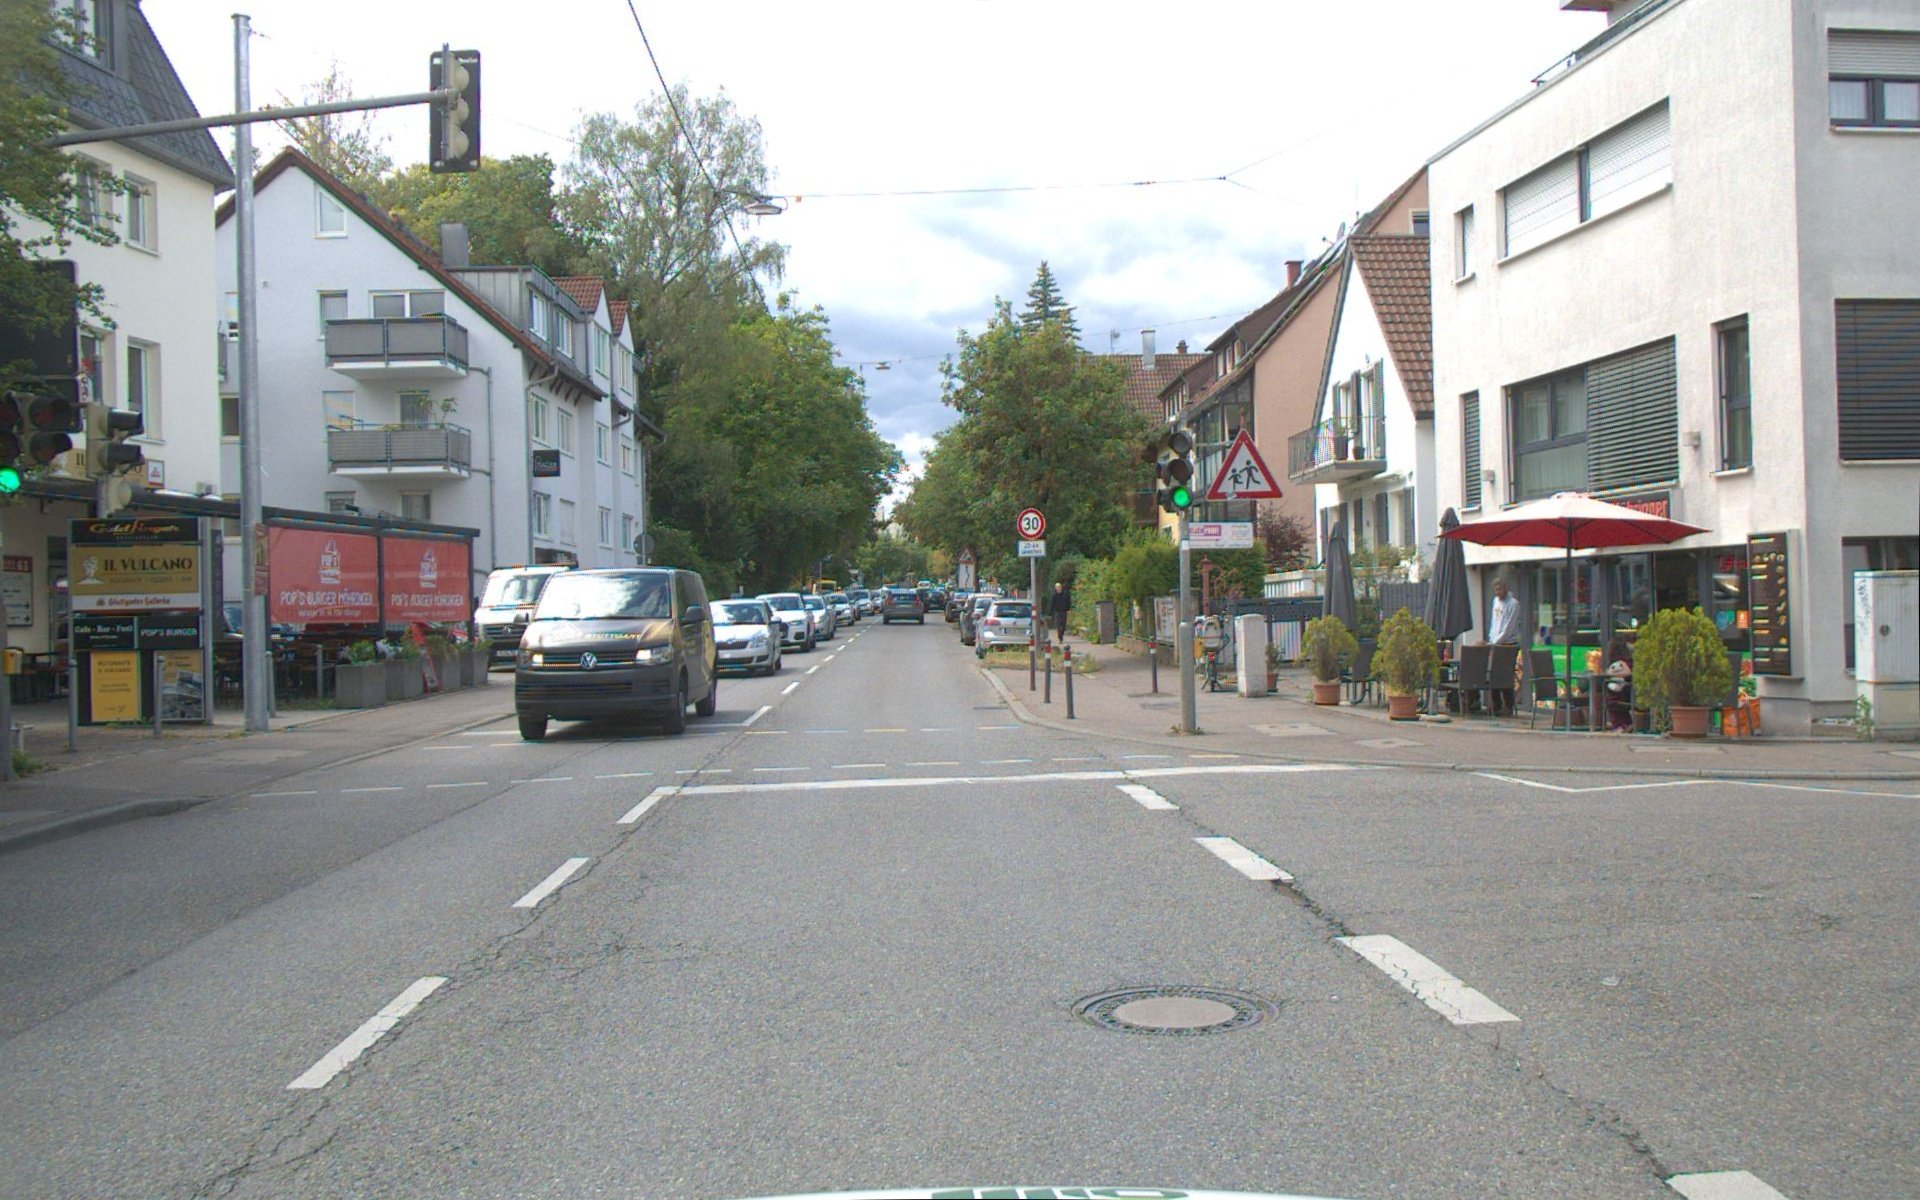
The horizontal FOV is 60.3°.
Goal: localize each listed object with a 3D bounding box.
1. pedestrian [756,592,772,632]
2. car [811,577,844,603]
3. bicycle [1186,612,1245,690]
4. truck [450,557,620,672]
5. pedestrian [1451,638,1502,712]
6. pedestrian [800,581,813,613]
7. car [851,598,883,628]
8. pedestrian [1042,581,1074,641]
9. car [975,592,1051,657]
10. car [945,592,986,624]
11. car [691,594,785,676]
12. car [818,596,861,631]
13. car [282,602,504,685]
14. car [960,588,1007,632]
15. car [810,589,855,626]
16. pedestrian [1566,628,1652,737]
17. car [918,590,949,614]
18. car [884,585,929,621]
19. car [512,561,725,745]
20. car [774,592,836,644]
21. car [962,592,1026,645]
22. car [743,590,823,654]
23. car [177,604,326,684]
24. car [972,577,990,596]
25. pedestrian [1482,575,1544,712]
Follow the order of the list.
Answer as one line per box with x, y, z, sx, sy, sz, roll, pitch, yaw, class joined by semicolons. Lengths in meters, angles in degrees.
-8.401;0.531;70.839;0.640;1.696;0.930;-1;0;-7;pedestrian
-10.792;-0.775;134.966;2.101;2.015;4.931;-1;0;1;car
4.073;0.791;26.498;0.705;1.170;2.214;-1;0;4;bicycle
-9.755;0.331;38.565;2.178;2.421;6.326;-1;0;1;truck
6.869;0.991;22.013;0.412;0.954;0.494;-1;-1;-22;pedestrian
-8.874;-0.161;95.455;0.700;1.793;1.120;-1;0;-7;pedestrian
-5.702;0.798;101.993;1.750;1.676;4.490;-3;1;-1;car
2.898;0.327;48.766;0.862;1.742;0.842;-1;0;0;pedestrian
1.289;0.576;41.814;1.666;1.506;4.871;0;1;-1;car
0.243;0.374;80.610;1.765;1.470;4.885;1;1;-2;car
-4.387;0.657;33.117;1.585;1.512;3.810;-1;0;-4;car
-6.117;0.675;84.594;1.889;1.573;4.085;-4;1;-2;car
-10.630;0.803;31.221;3.621;1.450;1.803;-1;0;-6;car
0.847;0.341;61.671;1.589;1.534;3.778;-1;1;-2;car
-5.710;0.312;74.350;1.724;1.464;3.969;-3;1;-2;car
6.875;0.860;17.530;0.559;1.108;0.628;-1;-1;-27;pedestrian
-1.774;0.117;111.588;1.778;1.527;4.269;0;1;4;car
-2.401;0.116;75.244;1.936;1.539;4.266;2;1;-1;car
-4.016;0.553;20.189;1.839;1.946;4.748;-1;0;-3;car
-5.073;0.555;54.623;1.694;1.528;4.374;-3;1;-2;car
0.993;0.534;50.366;1.699;1.453;4.881;2;1;-1;car
-4.822;0.566;45.474;1.770;1.598;4.158;-3;0;-2;car
-14.181;0.883;33.064;2.792;1.496;1.560;-2;-1;37;car
2.256;-1.450;180.498;1.952;2.049;4.000;-1;0;0;car
7.351;0.569;22.004;0.421;1.793;0.671;-1;-1;-22;pedestrian
